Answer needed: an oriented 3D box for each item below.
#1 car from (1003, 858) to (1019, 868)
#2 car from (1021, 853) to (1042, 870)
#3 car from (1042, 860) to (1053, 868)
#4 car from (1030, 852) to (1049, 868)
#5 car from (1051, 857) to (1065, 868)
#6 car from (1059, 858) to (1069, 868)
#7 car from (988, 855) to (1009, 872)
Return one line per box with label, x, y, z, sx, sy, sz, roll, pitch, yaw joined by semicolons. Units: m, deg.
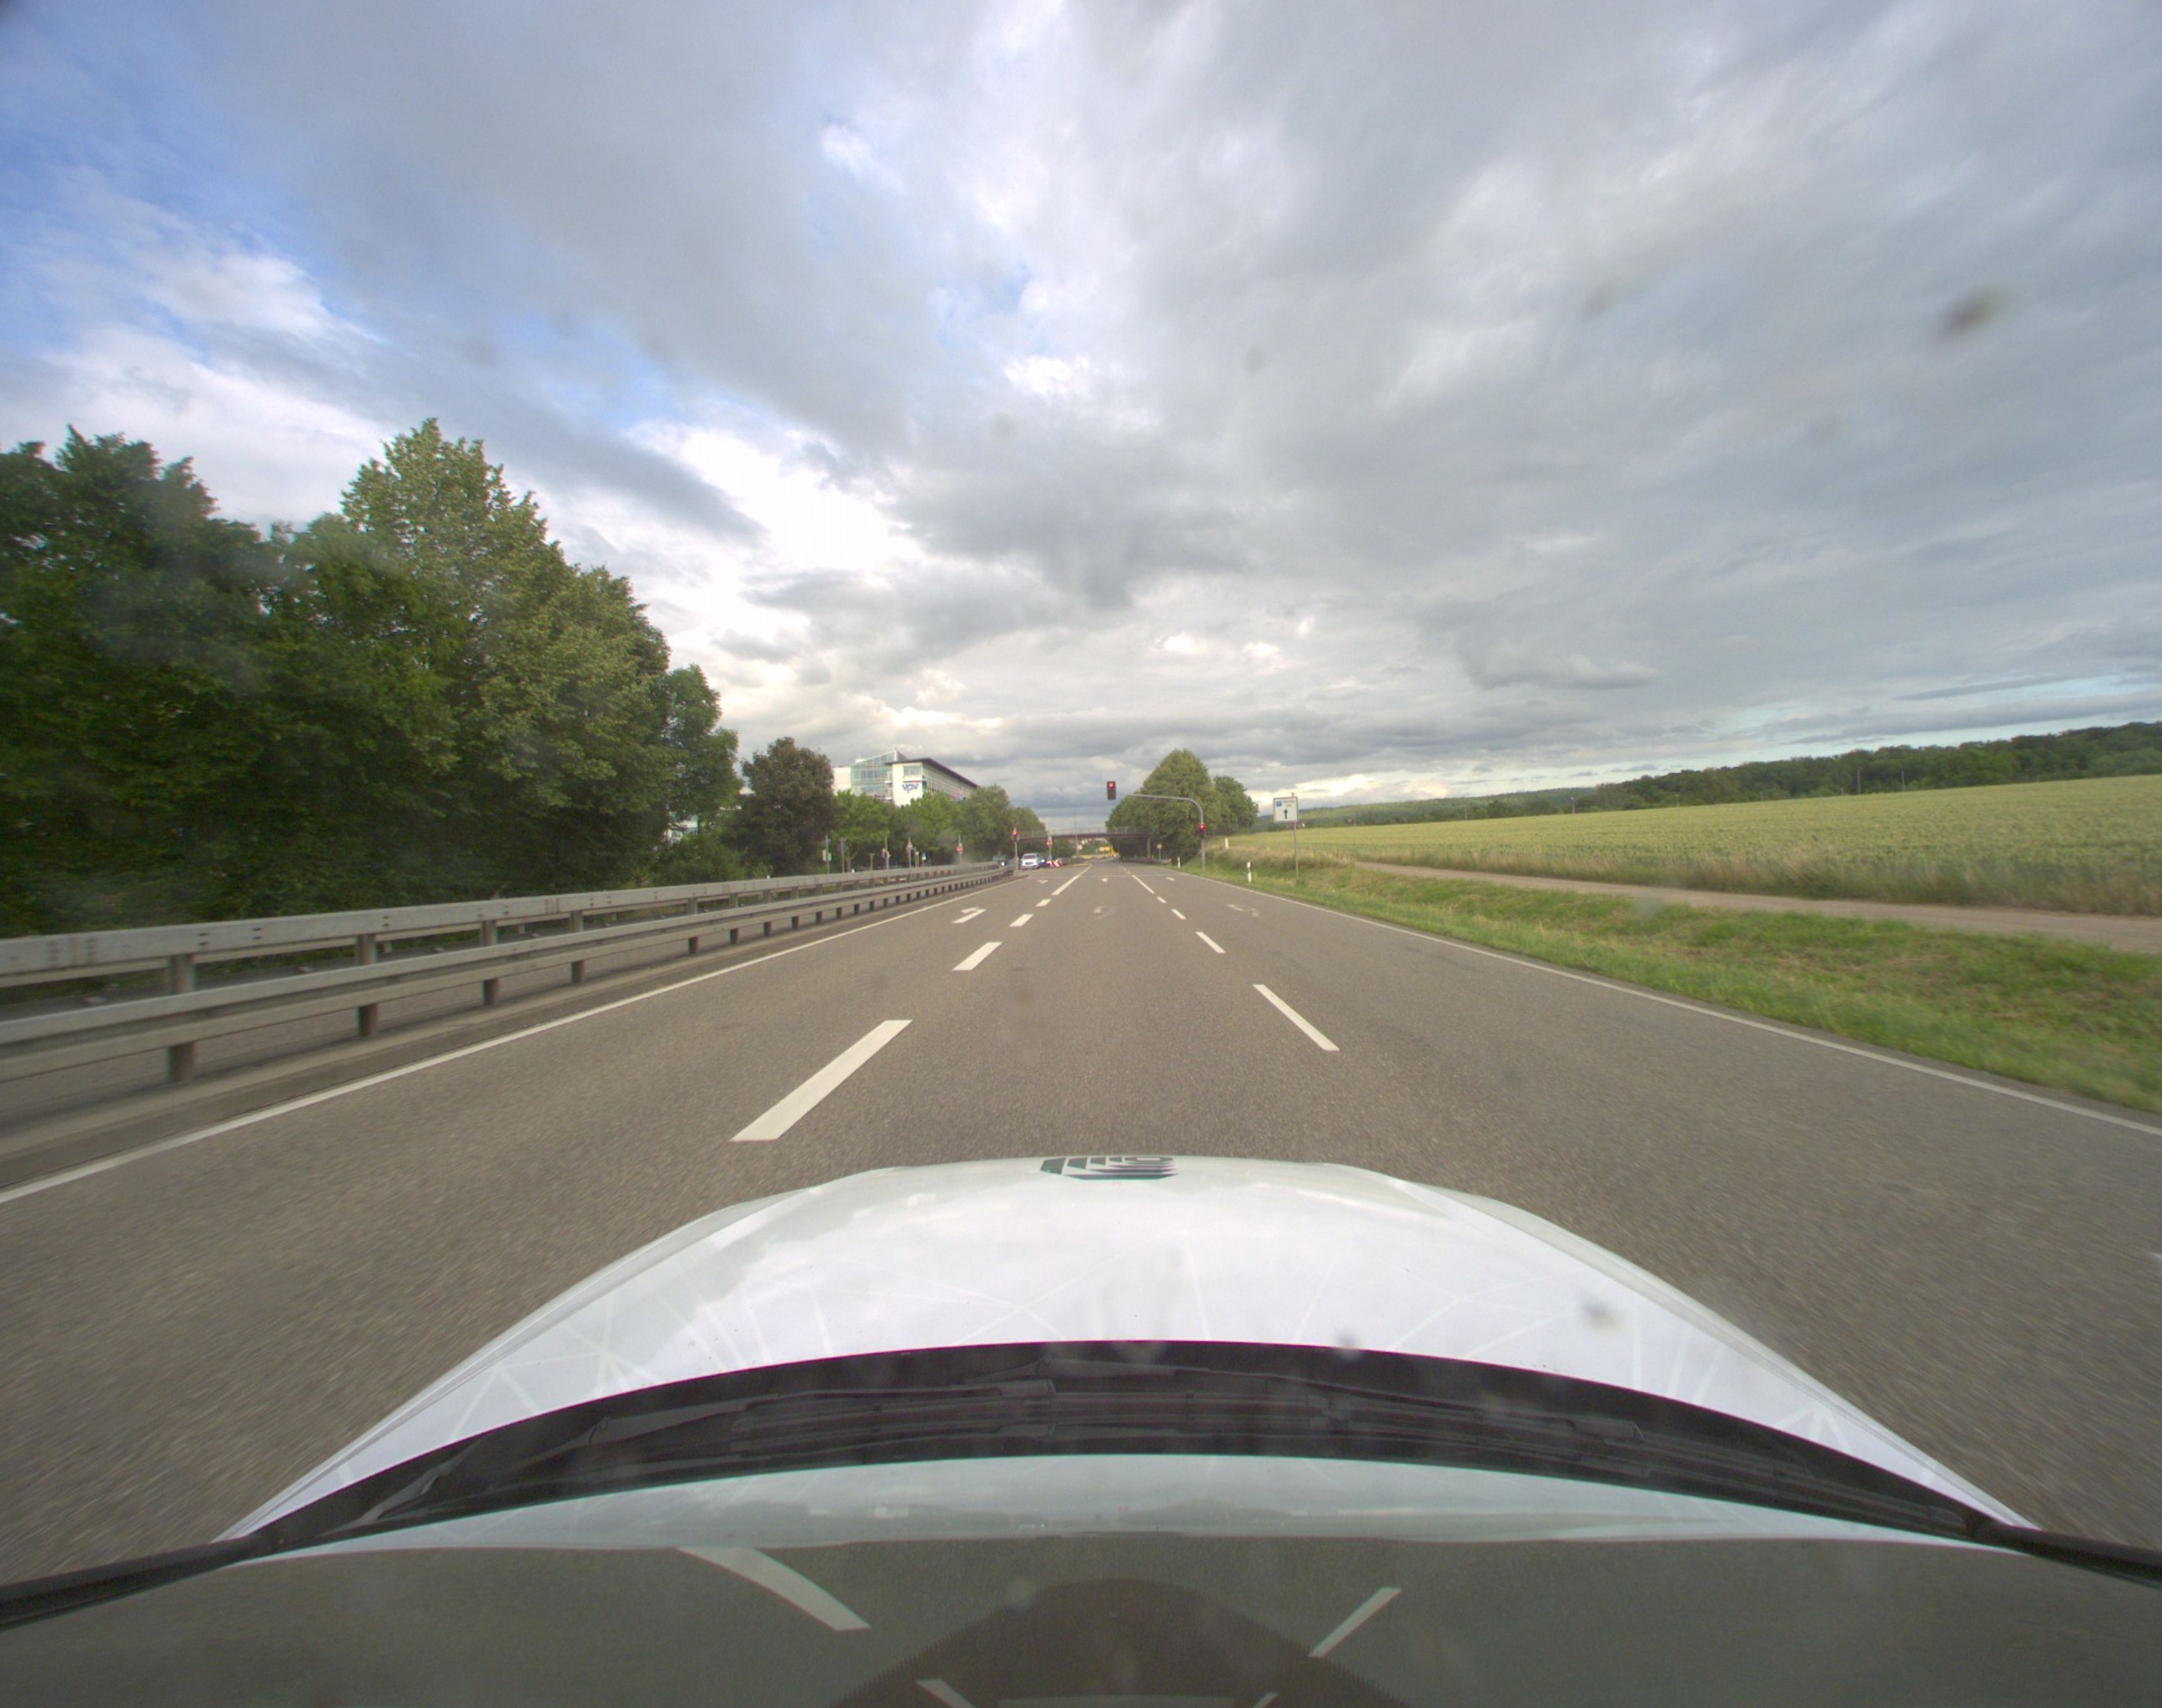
car;-8.923;1.166;103.929;1.607;1.178;3.459;-2;0;2
car;-5.886;0.839;96.791;1.941;1.873;4.739;-2;0;2
car;-4.703;1.385;115.256;1.308;0.987;2.922;-2;0;1
car;-5.352;0.746;105.343;1.986;1.873;4.739;-2;0;2
car;-2.690;0.984;94.727;1.352;1.092;2.924;-2;0;3
car;-2.339;1.226;114.421;1.308;1.229;2.922;-2;0;1
car;-9.783;1.109;96.666;1.862;1.754;4.050;-2;0;2
